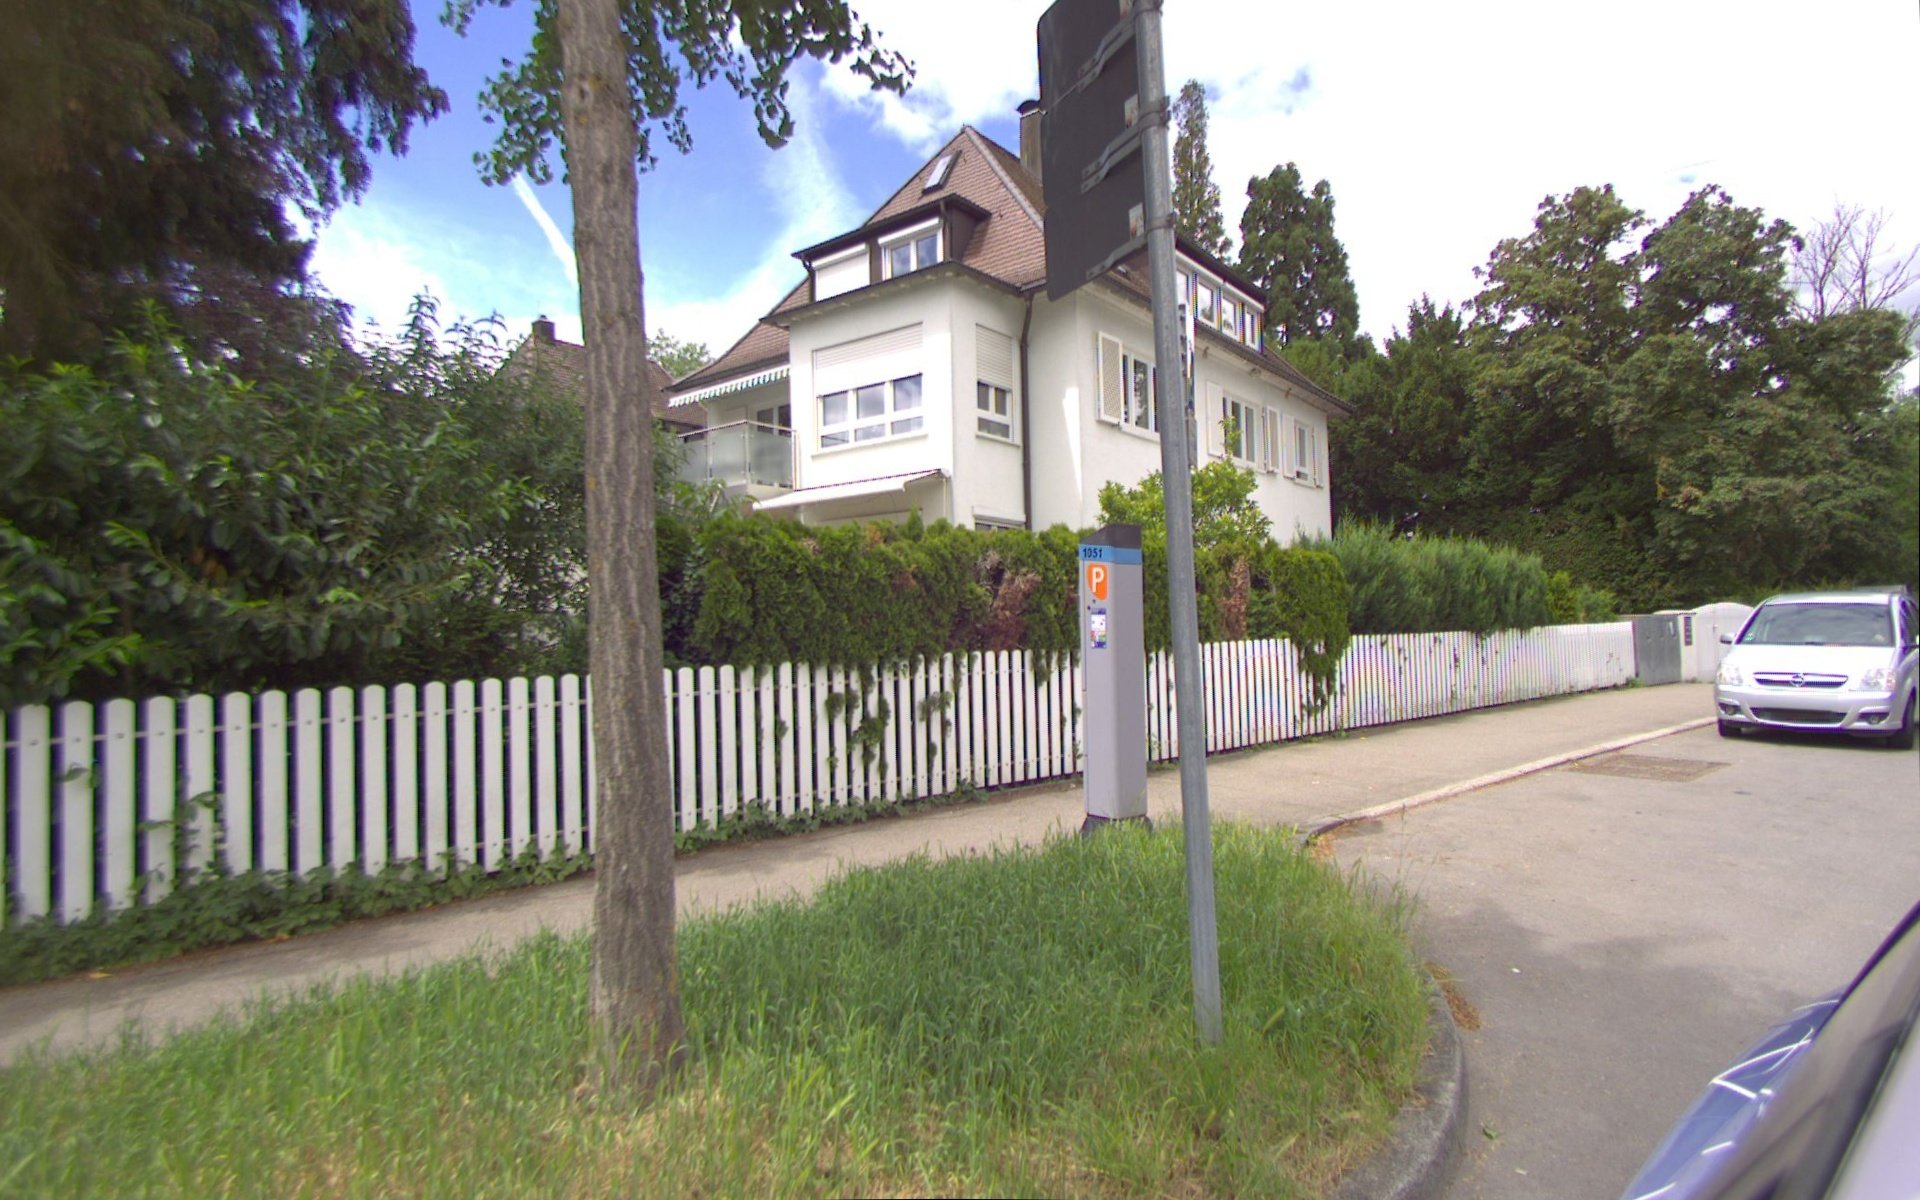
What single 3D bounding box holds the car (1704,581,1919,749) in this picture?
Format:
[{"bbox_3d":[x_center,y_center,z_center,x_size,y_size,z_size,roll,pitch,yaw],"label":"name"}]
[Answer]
[{"bbox_3d":[10.107,0.601,11.548,3.948,1.602,1.762,-1,0,-41],"label":"car"}]
